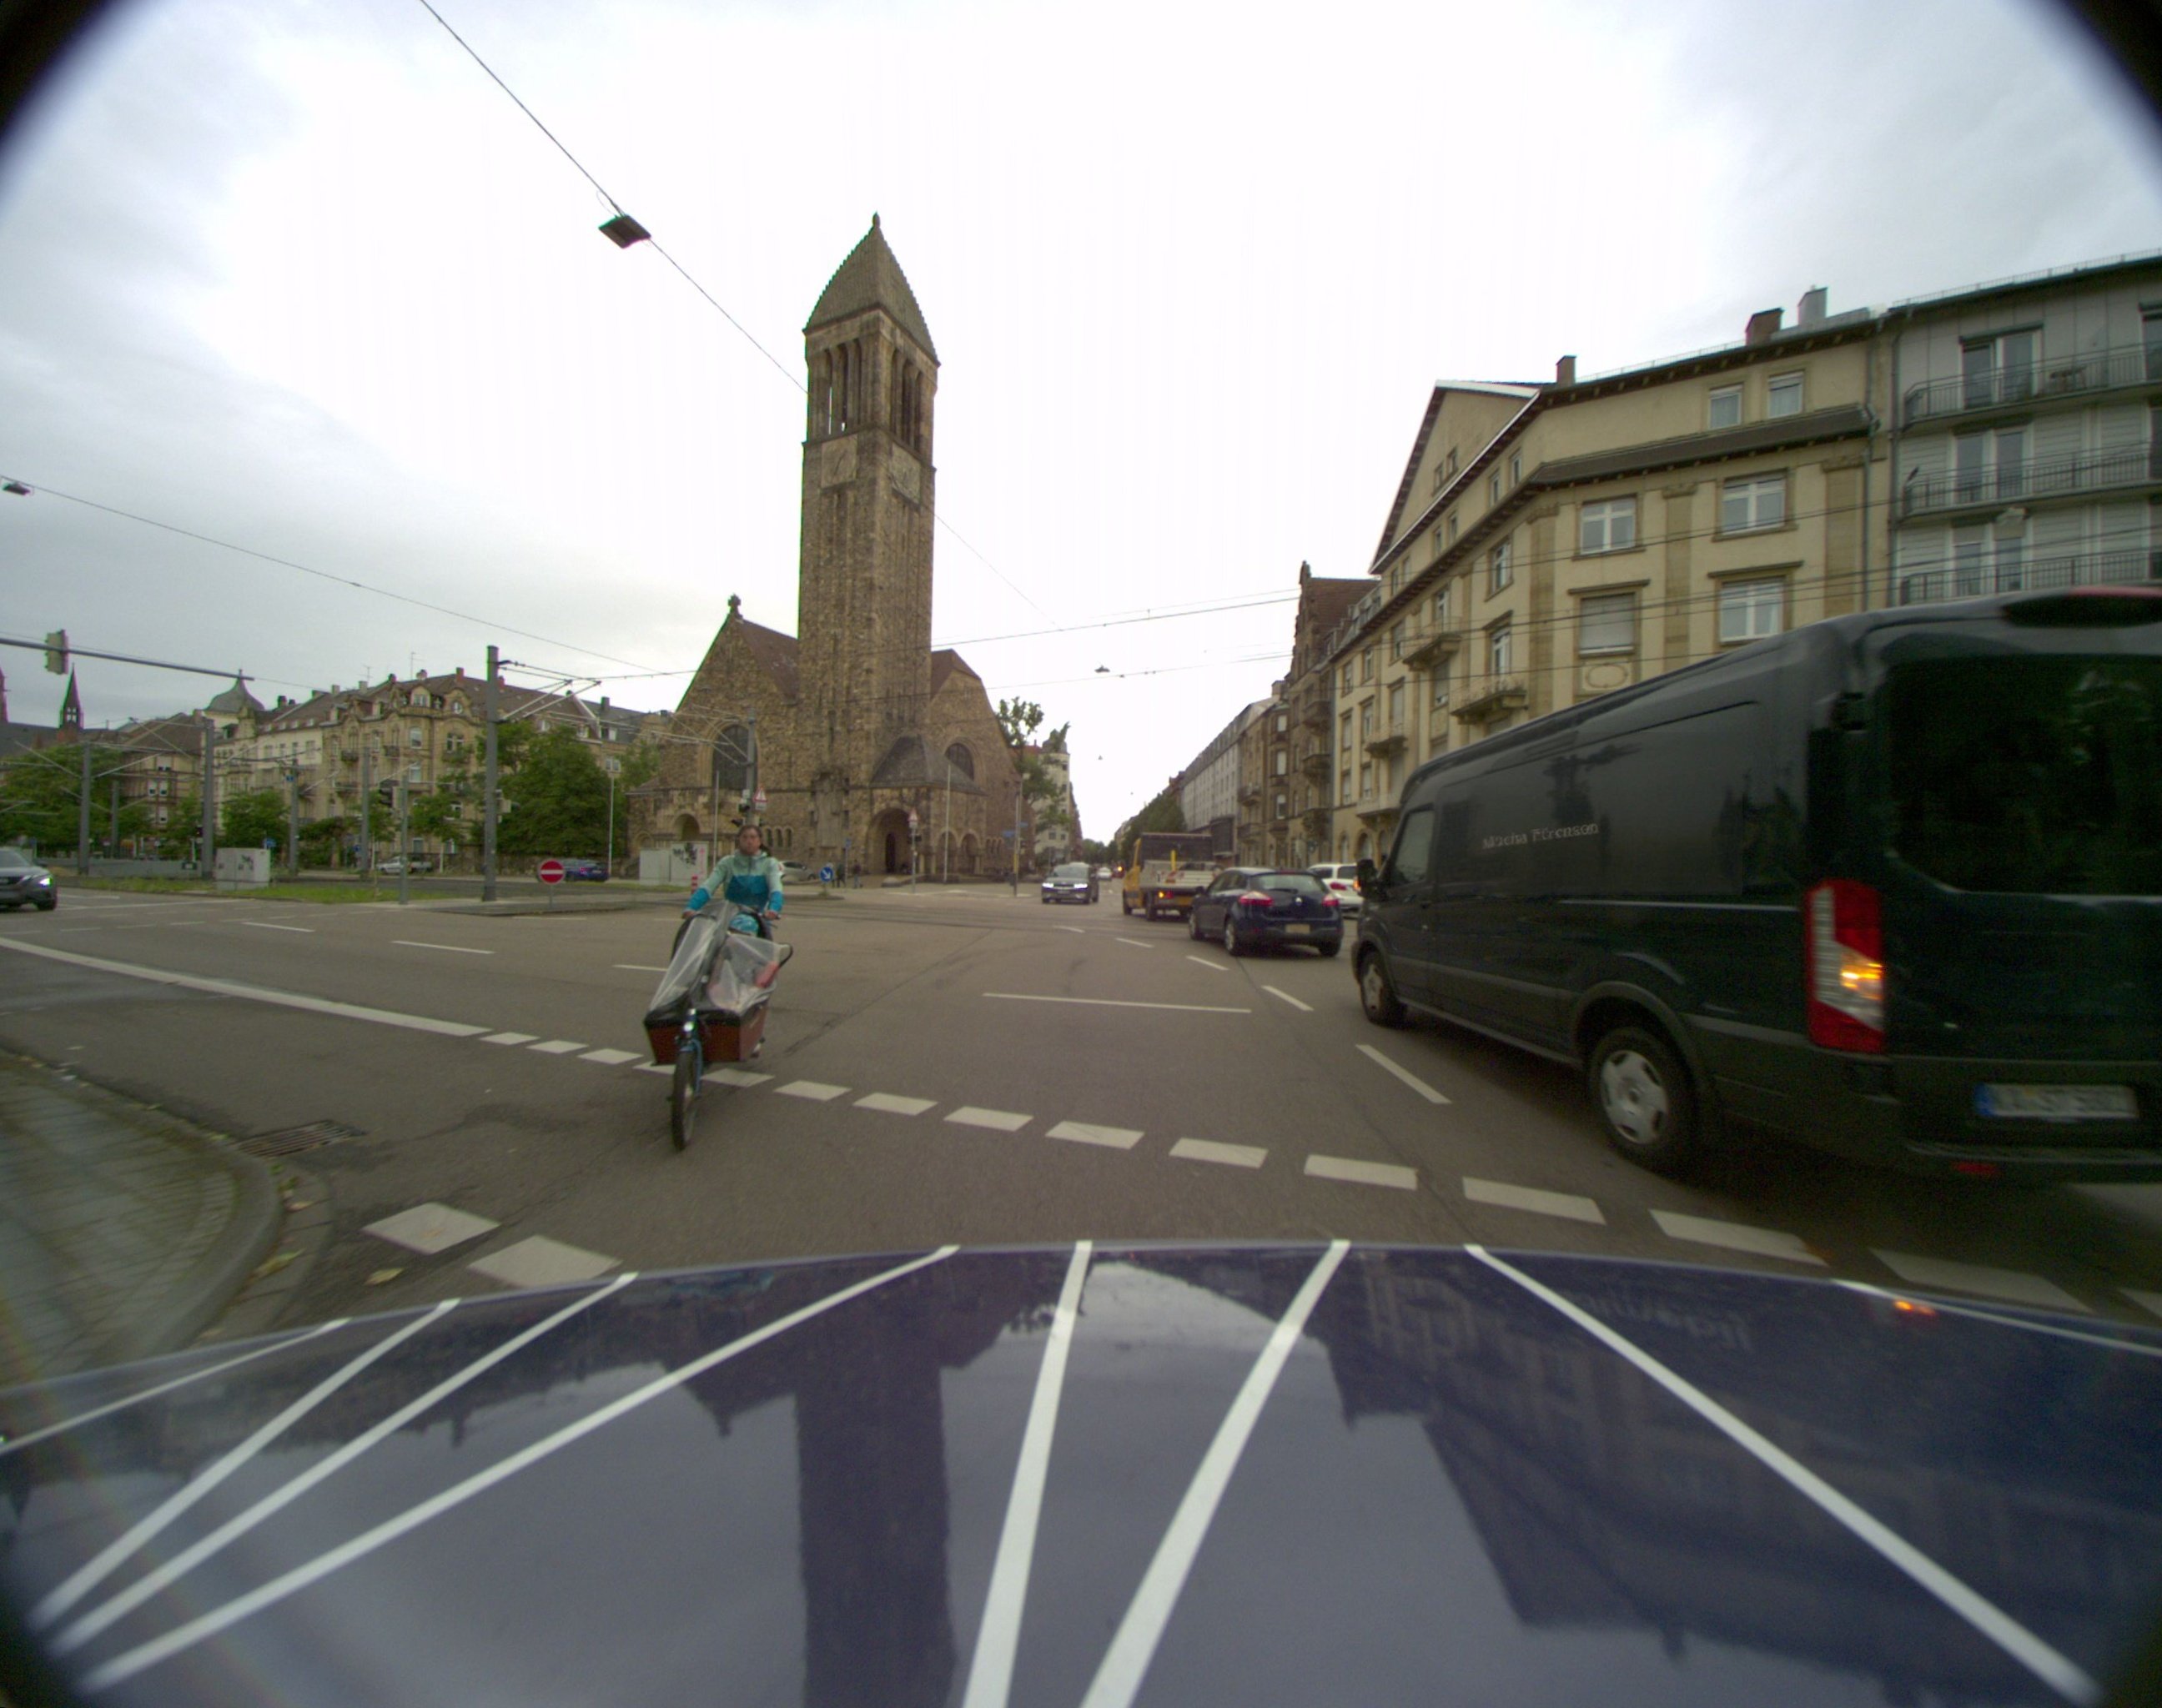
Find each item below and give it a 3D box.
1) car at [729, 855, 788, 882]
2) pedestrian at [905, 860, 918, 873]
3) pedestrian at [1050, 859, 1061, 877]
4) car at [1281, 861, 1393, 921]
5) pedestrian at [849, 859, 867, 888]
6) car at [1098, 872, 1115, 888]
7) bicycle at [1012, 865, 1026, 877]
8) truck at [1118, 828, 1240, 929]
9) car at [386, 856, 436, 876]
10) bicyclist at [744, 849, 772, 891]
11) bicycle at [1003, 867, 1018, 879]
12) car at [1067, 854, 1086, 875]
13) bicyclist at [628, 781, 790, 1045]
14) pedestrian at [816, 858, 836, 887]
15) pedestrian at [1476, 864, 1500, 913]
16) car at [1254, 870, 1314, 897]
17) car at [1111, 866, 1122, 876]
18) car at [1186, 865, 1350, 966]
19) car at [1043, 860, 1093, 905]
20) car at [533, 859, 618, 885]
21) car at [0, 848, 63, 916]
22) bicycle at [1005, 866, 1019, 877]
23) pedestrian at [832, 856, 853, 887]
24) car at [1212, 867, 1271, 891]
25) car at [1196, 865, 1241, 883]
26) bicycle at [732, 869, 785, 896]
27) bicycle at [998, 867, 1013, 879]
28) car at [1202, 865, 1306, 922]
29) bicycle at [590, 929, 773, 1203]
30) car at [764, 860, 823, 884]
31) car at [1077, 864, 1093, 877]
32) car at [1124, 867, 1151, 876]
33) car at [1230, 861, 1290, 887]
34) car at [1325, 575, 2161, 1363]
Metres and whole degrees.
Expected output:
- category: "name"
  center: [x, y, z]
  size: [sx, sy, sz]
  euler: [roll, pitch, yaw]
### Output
- category: "car"
  center: [-22.422, 0.976, 52.933]
  size: [1.682, 1.782, 3.474]
  euler: [1, 0, 28]
- category: "pedestrian"
  center: [-12.765, 0.954, 57.238]
  size: [0.672, 0.946, 0.616]
  euler: [1, 0, 24]
- category: "pedestrian"
  center: [-2.680, 1.465, 80.689]
  size: [0.814, 1.798, 1.021]
  euler: [1, 2, 22]
- category: "car"
  center: [8.643, 1.182, 26.182]
  size: [1.872, 1.815, 5.225]
  euler: [2, -1, -2]
- category: "pedestrian"
  center: [-13.118, 1.152, 44.748]
  size: [0.676, 1.676, 0.969]
  euler: [3, 0, 2]
- category: "car"
  center: [2.944, 2.981, 87.396]
  size: [1.832, 1.761, 4.000]
  euler: [1, 0, 0]
- category: "bicycle"
  center: [-6.036, 1.677, 73.589]
  size: [1.340, 1.140, 0.311]
  euler: [1, 0, 24]
- category: "truck"
  center: [2.533, 0.640, 21.239]
  size: [2.081, 2.394, 5.459]
  euler: [2, -1, -6]
- category: "car"
  center: [-53.453, 0.938, 60.614]
  size: [3.458, 1.521, 1.690]
  euler: [1, 0, 25]
- category: "bicyclist"
  center: [-12.813, 0.635, 30.144]
  size: [0.614, 1.644, 0.755]
  euler: [1, 0, 23]
- category: "bicycle"
  center: [-6.663, 1.775, 71.674]
  size: [1.380, 1.053, 0.311]
  euler: [1, 0, 24]
- category: "car"
  center: [-0.403, 1.022, 74.675]
  size: [1.809, 1.908, 5.164]
  euler: [1, -1, 0]
- category: "bicyclist"
  center: [-2.346, 0.349, 4.925]
  size: [0.688, 1.508, 1.057]
  euler: [1, 0, -13]
- category: "pedestrian"
  center: [-14.932, 1.063, 44.448]
  size: [0.634, 1.663, 0.970]
  euler: [3, 0, 8]
- category: "pedestrian"
  center: [14.962, 1.265, 27.928]
  size: [0.568, 1.774, 0.551]
  euler: [1, 0, 3]
- category: "car"
  center: [12.061, 1.713, 45.003]
  size: [1.679, 1.463, 4.009]
  euler: [-2, -1, 43]
- category: "car"
  center: [5.517, 2.621, 117.524]
  size: [1.653, 1.438, 3.512]
  euler: [1, -1, 1]
- category: "car"
  center: [3.086, 0.957, 13.368]
  size: [1.671, 1.480, 3.903]
  euler: [1, -1, -4]
- category: "car"
  center: [-0.456, 1.129, 30.889]
  size: [1.819, 1.675, 4.001]
  euler: [1, -1, 2]
- category: "car"
  center: [-29.290, 1.031, 44.018]
  size: [4.310, 1.397, 1.824]
  euler: [1, -1, 19]
- category: "car"
  center: [-27.024, 0.653, 18.617]
  size: [3.979, 1.552, 1.690]
  euler: [1, 0, 25]
- category: "bicycle"
  center: [-6.557, 1.650, 72.265]
  size: [1.380, 1.053, 0.311]
  euler: [1, 0, 24]
- category: "pedestrian"
  center: [-14.303, 1.045, 45.618]
  size: [0.806, 1.748, 0.969]
  euler: [3, 0, 1]
- category: "car"
  center: [12.021, 1.846, 56.944]
  size: [4.005, 1.713, 1.837]
  euler: [0, 0, -23]
- category: "car"
  center: [12.527, 1.797, 69.249]
  size: [4.007, 1.545, 1.699]
  euler: [-1, -1, -37]
- category: "bicycle"
  center: [-12.720, 1.107, 30.028]
  size: [0.551, 0.990, 2.065]
  euler: [1, 0, 24]
- category: "bicycle"
  center: [-7.089, 1.798, 71.047]
  size: [1.380, 1.053, 0.311]
  euler: [1, 0, 24]
- category: "car"
  center: [5.126, 1.128, 23.049]
  size: [1.738, 1.516, 3.997]
  euler: [1, -1, -8]
- category: "bicycle"
  center: [-2.379, 1.136, 4.772]
  size: [0.495, 1.092, 2.135]
  euler: [1, 1, -14]
- category: "car"
  center: [-19.353, 1.188, 51.261]
  size: [1.614, 1.521, 3.474]
  euler: [1, 0, 28]
- category: "car"
  center: [0.541, 2.058, 95.016]
  size: [1.819, 1.556, 4.001]
  euler: [1, -1, 2]
- category: "car"
  center: [9.380, 2.866, 125.831]
  size: [4.005, 1.488, 1.735]
  euler: [1, -1, -22]
- category: "car"
  center: [11.926, 1.309, 50.449]
  size: [4.234, 1.642, 1.727]
  euler: [0, 0, -41]
- category: "car"
  center: [3.639, 0.400, 5.153]
  size: [2.139, 2.436, 5.579]
  euler: [1, -1, 0]
